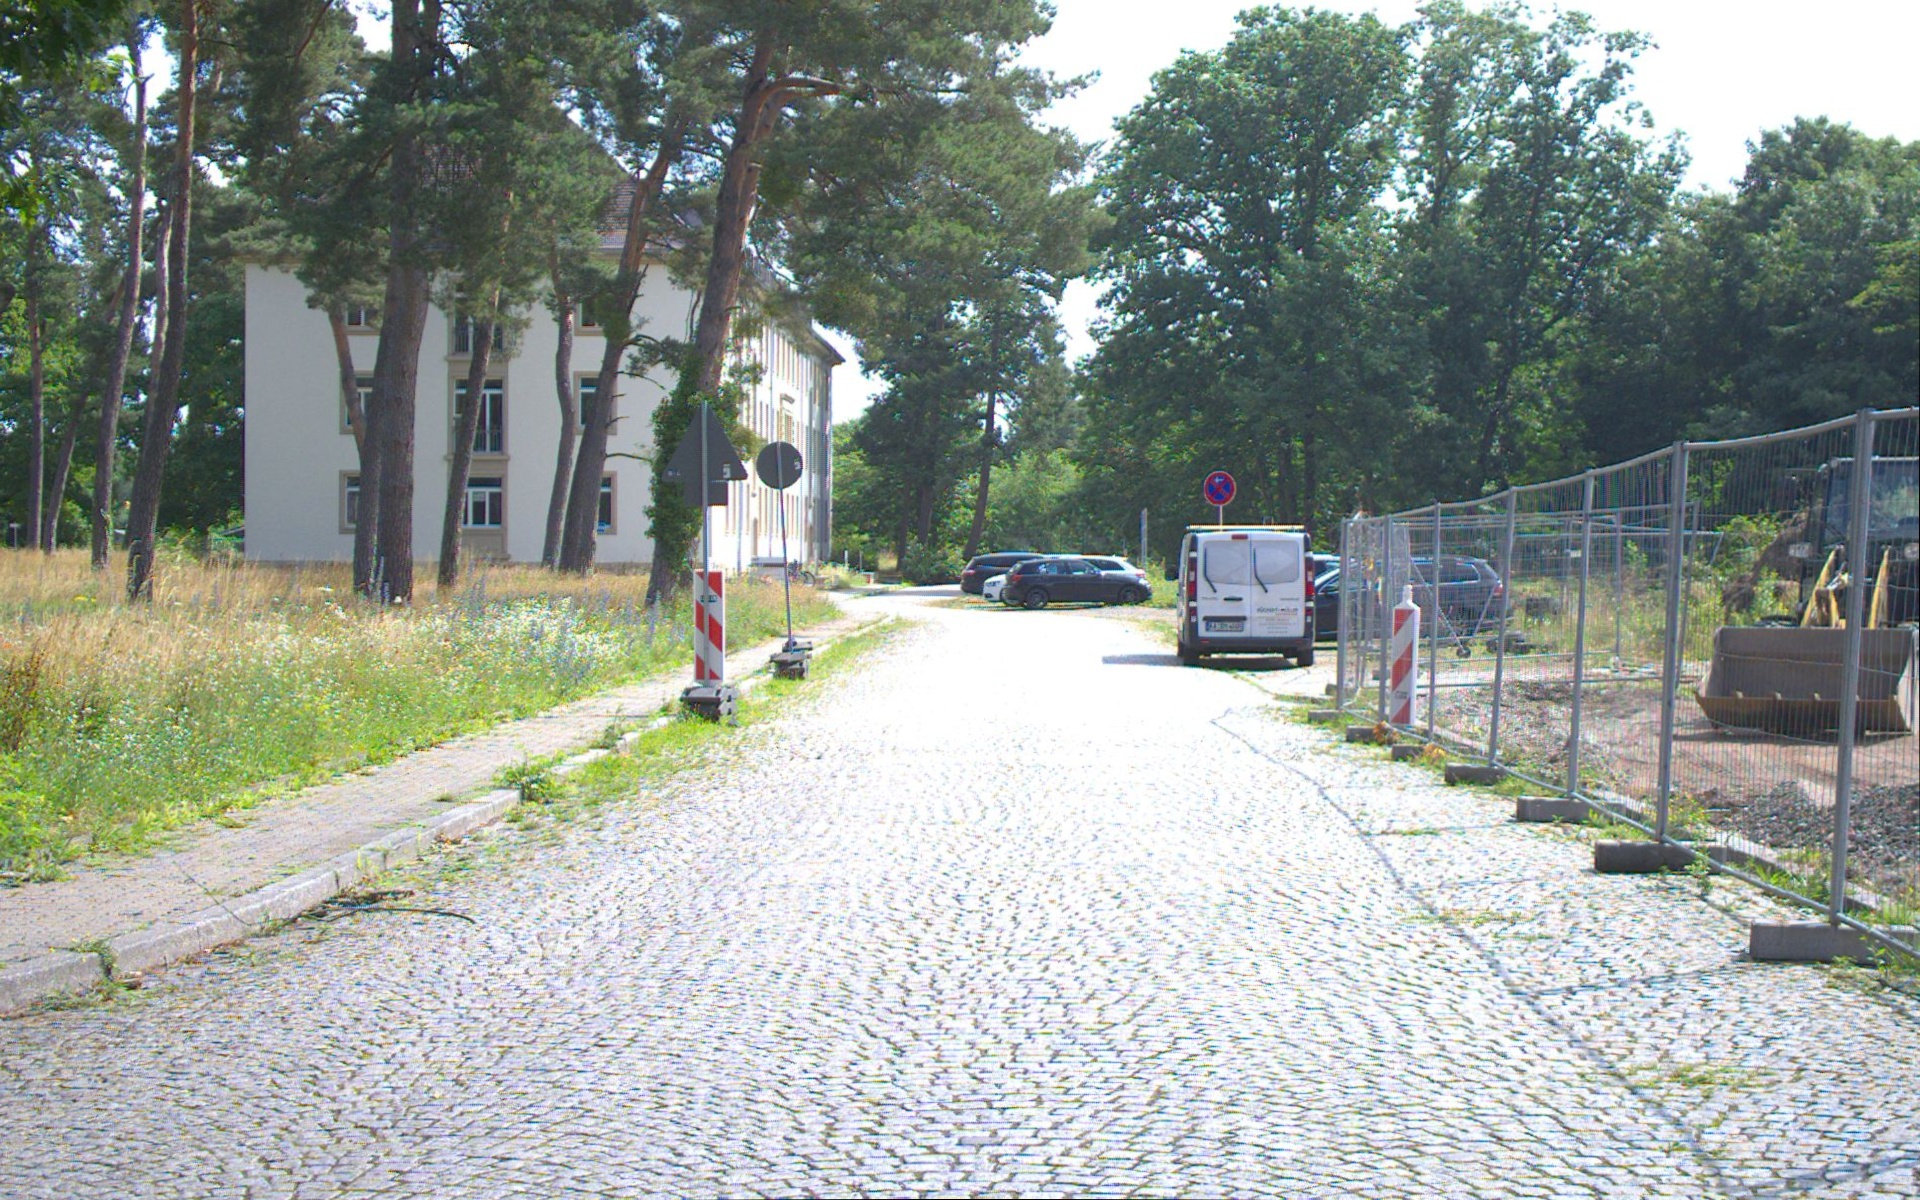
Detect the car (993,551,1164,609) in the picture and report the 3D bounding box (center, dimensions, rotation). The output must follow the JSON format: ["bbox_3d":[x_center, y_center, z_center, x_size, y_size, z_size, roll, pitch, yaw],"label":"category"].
[{"bbox_3d":[3.446,-0.593,100.554,4.779,1.635,2.000,1,1,-4],"label":"car"}]

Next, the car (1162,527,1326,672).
[{"bbox_3d":[4.117,-0.036,50.391,1.993,2.007,4.091,1,1,-1],"label":"car"}]

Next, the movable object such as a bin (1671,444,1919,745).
[{"bbox_3d":[8.458,-0.087,32.114,2.132,2.584,4.783,1,1,30],"label":"movable object such as a bin"}]

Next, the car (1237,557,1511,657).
[{"bbox_3d":[6.886,0.104,57.041,4.404,1.505,1.999,2,1,9],"label":"car"}]

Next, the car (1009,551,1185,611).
[{"bbox_3d":[3.859,-0.535,97.438,4.779,1.635,2.000,1,1,-4],"label":"car"}]
